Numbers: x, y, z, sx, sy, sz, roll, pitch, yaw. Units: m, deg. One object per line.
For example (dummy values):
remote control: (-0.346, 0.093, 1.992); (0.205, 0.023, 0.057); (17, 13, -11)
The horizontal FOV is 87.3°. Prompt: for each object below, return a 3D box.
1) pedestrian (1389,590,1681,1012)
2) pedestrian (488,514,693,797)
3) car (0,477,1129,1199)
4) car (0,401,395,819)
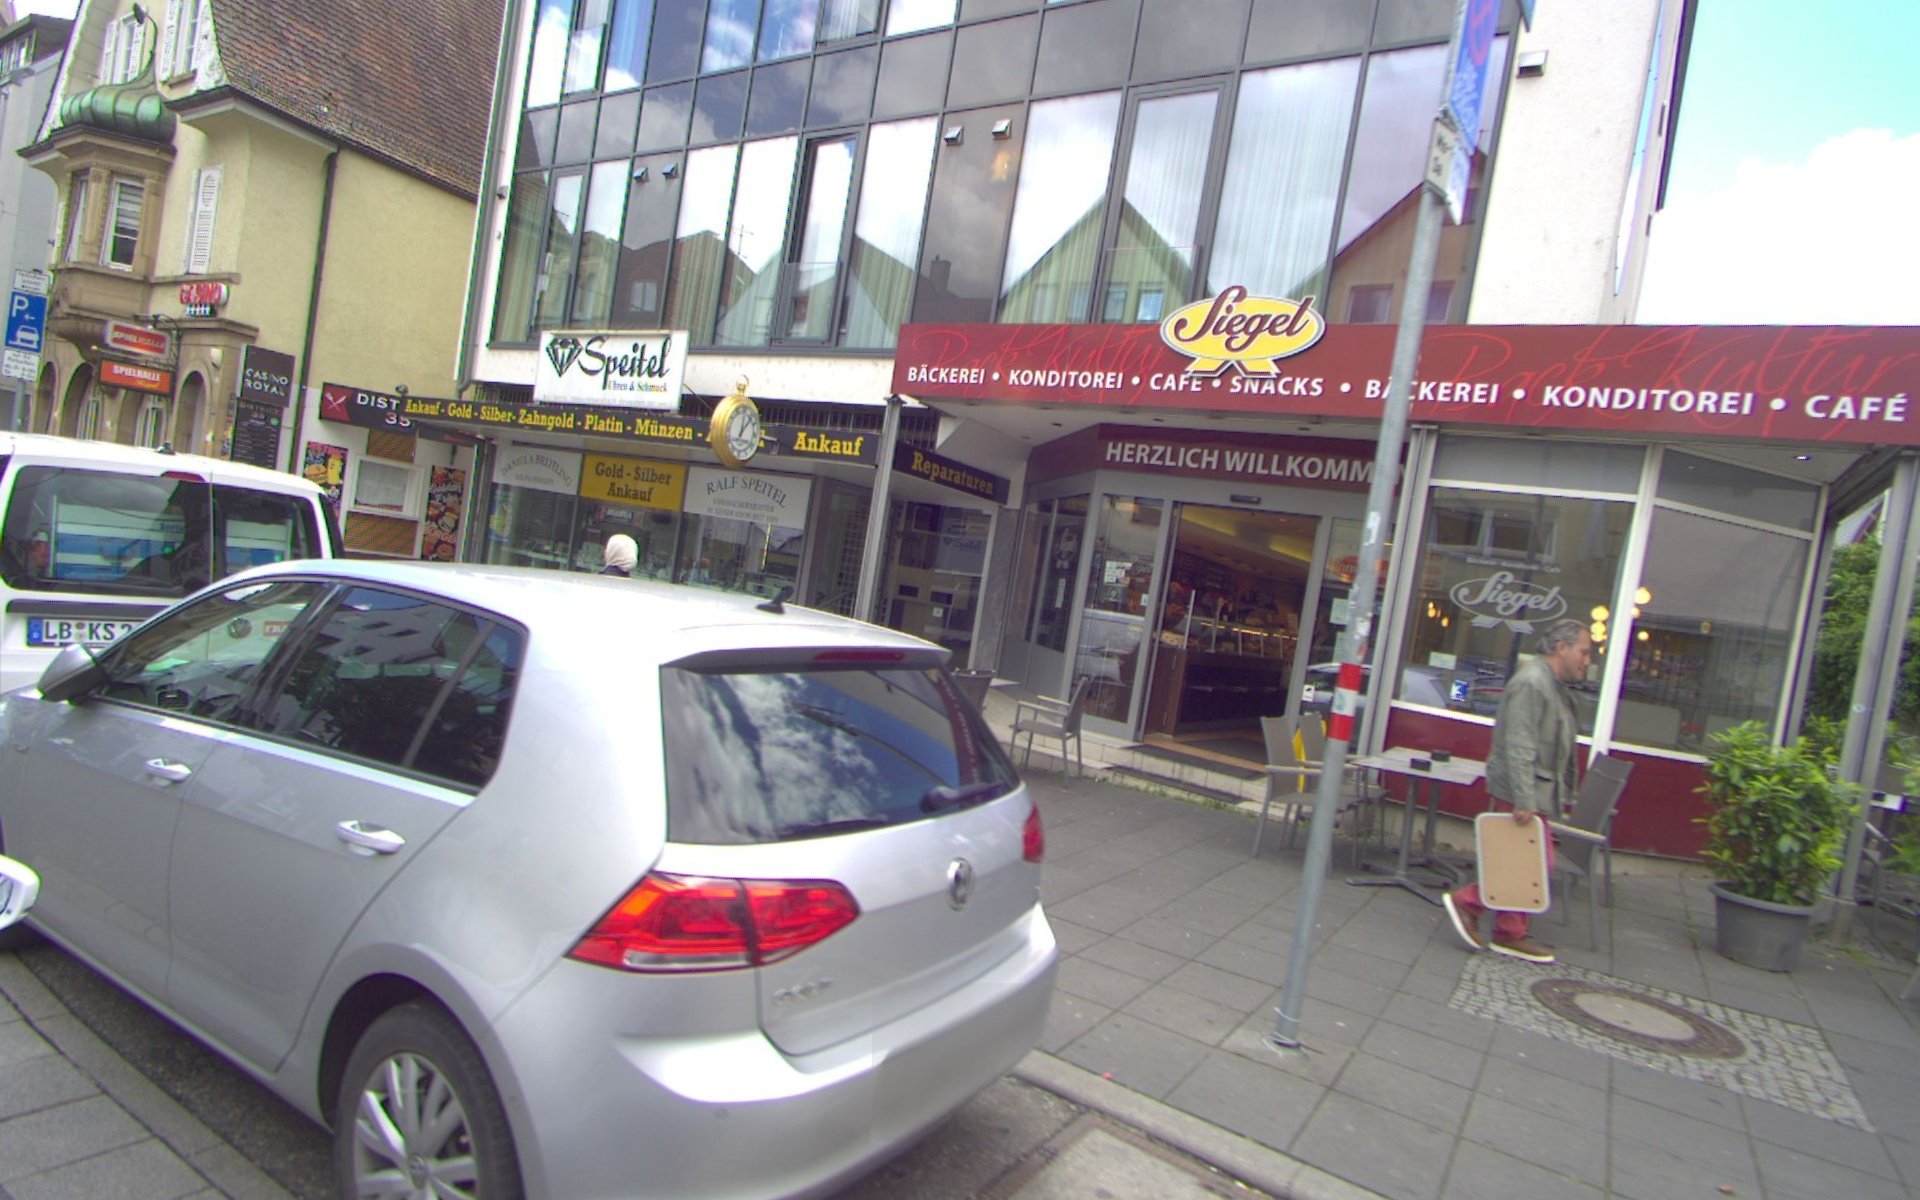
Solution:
pedestrian: (2.798, 0.889, 4.894); (0.931, 1.728, 0.863); (7, 1, 40)
pedestrian: (-2.423, 0.350, 6.611); (0.790, 1.686, 0.823); (7, 1, 40)
car: (-1.679, 0.527, 3.293); (3.933, 1.486, 1.705); (7, 0, 31)
car: (-5.655, -0.101, 6.292); (4.660, 1.821, 1.877); (7, -1, 37)
